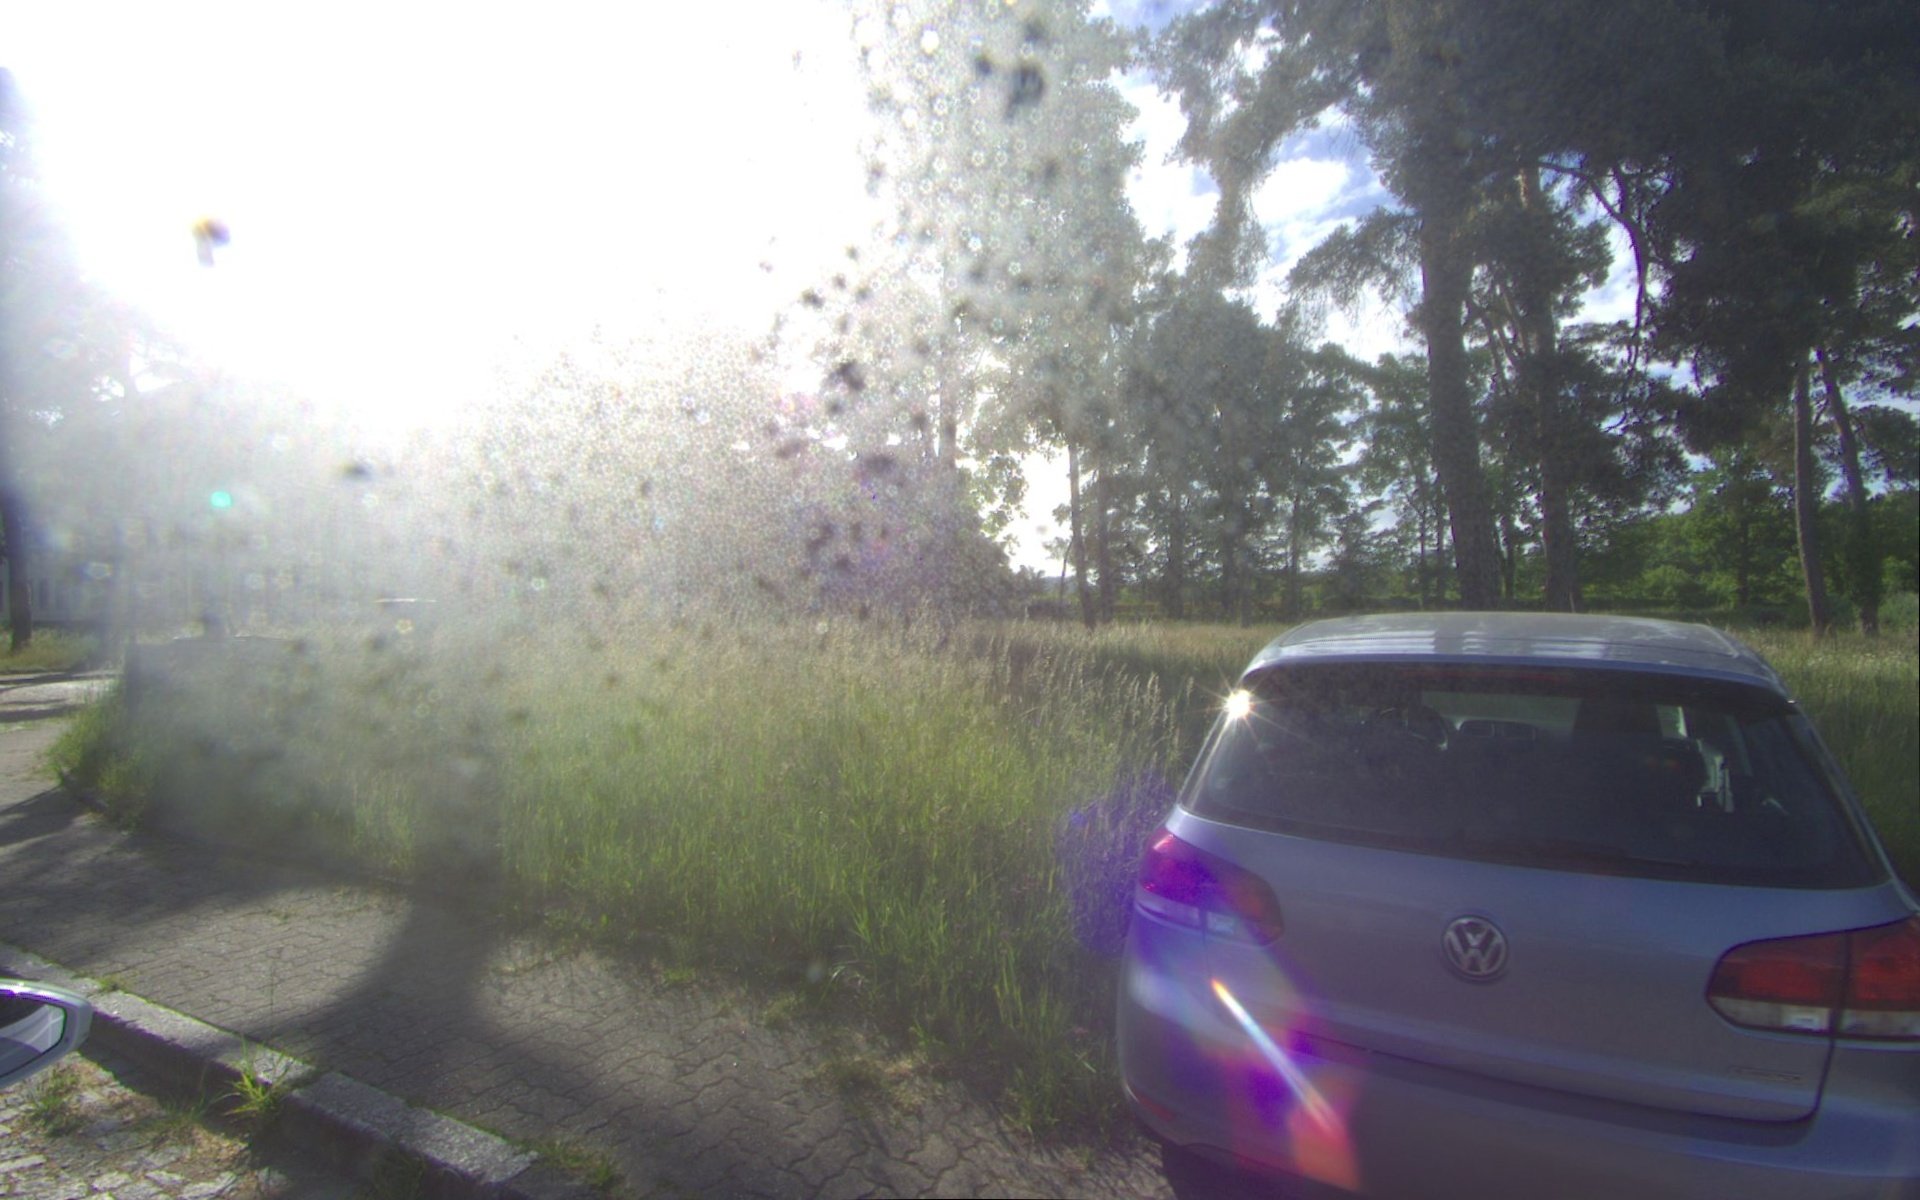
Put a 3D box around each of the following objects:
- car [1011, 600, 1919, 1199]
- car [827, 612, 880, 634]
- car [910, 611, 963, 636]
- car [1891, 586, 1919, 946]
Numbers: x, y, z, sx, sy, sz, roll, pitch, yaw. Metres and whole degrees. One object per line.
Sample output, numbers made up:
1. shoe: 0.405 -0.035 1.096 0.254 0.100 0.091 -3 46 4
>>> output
1. car: 1.915 0.756 3.547 1.843 1.480 4.009 0 0 30
2. car: -7.484 1.570 70.472 1.818 1.483 3.985 0 -1 27
3. car: -1.533 1.519 66.065 1.826 1.619 3.985 0 -1 27
4. car: 4.000 0.720 2.126 1.797 1.537 4.491 0 1 27
